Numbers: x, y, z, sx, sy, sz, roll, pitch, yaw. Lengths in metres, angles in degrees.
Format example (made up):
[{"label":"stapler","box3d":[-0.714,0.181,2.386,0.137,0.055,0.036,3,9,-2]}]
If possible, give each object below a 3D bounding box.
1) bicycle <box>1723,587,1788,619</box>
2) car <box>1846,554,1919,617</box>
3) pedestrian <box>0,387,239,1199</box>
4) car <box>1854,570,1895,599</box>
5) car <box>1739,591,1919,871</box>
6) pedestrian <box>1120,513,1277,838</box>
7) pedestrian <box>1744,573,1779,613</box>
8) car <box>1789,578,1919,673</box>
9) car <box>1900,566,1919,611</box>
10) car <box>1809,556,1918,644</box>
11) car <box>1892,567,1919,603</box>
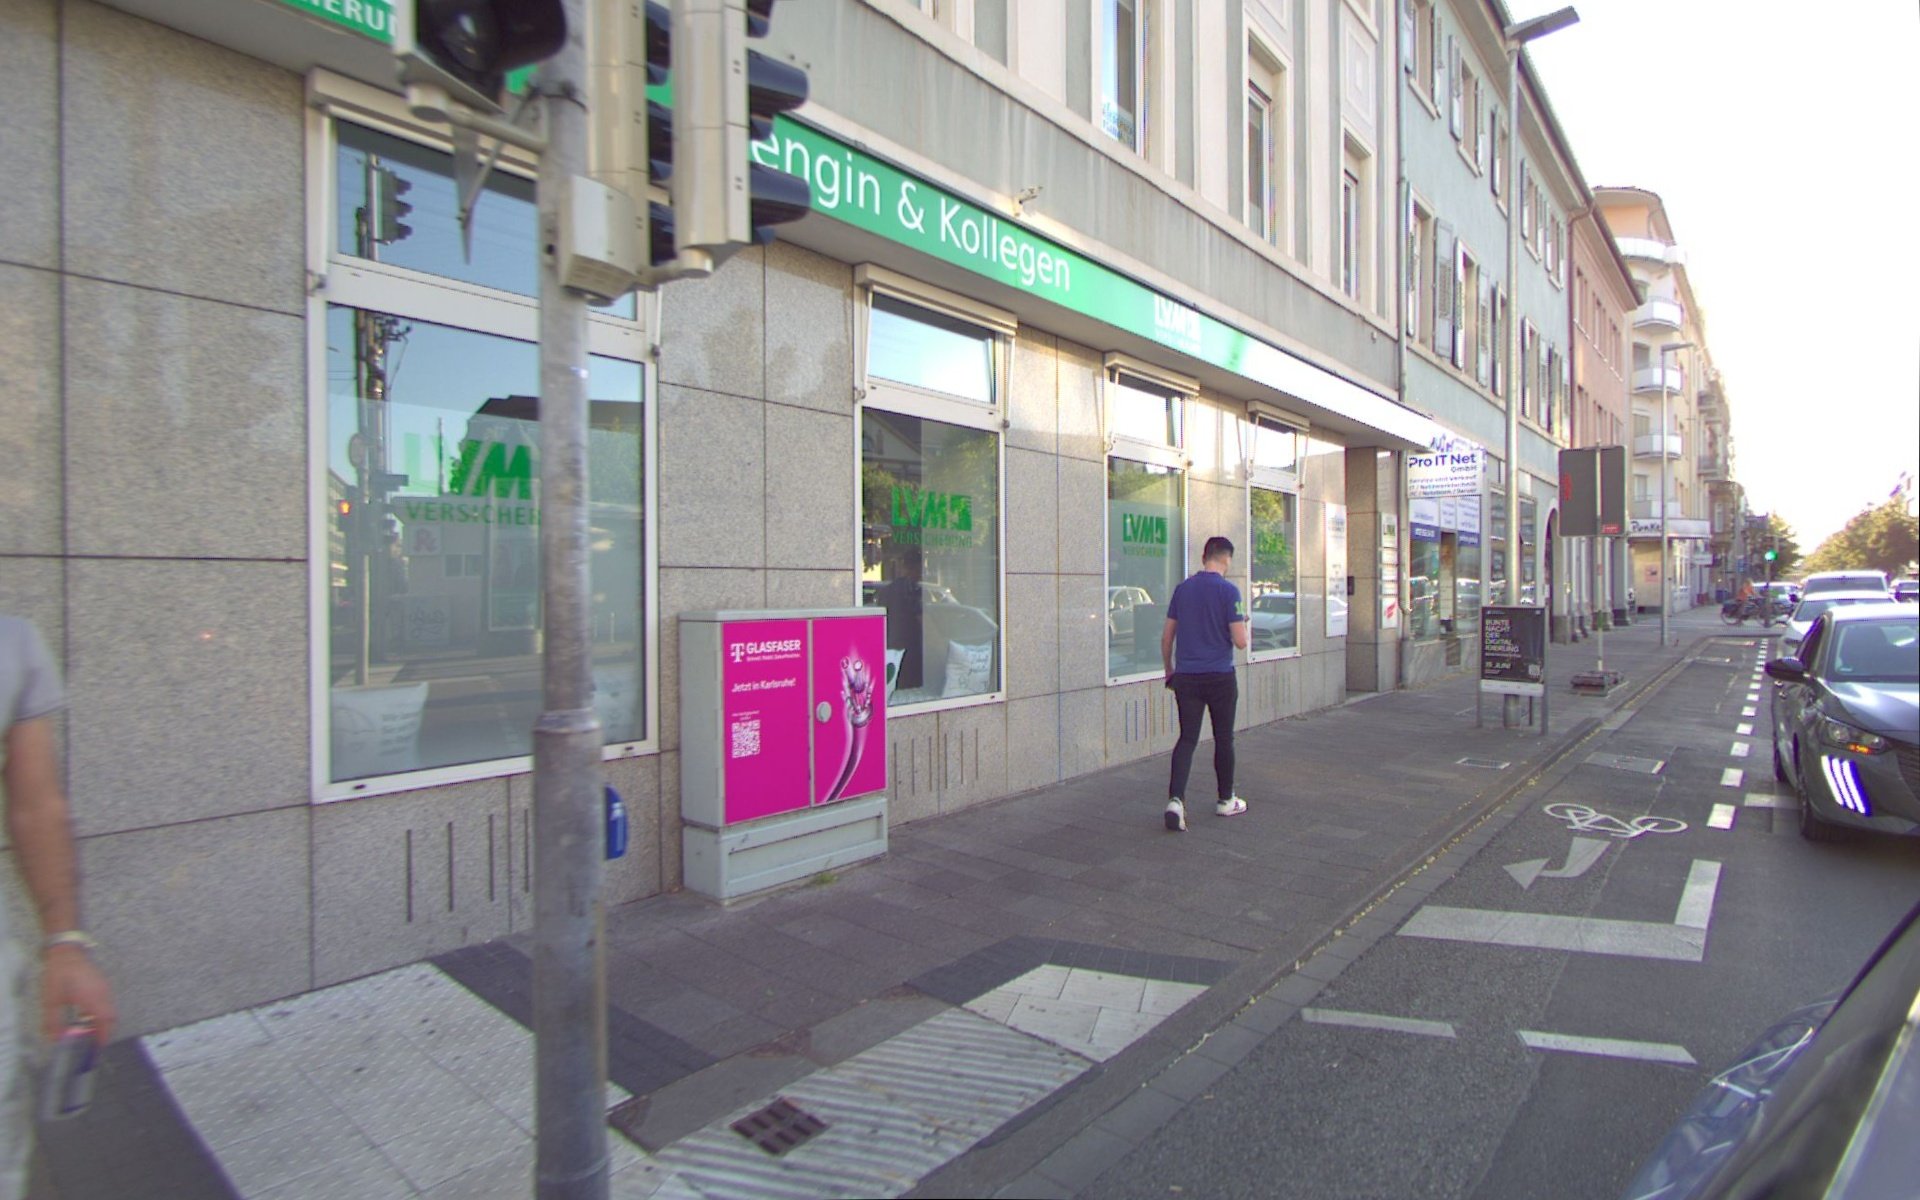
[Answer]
[{"label":"bicycle","box3d":[27.799,0.094,35.386,0.552,1.070,1.703,-1,1,-38]},{"label":"car","box3d":[31.968,-0.511,35.046,1.885,2.039,3.835,0,1,41]},{"label":"pedestrian","box3d":[-1.593,0.594,1.517,0.650,1.764,0.684,0,0,39]},{"label":"car","box3d":[59.683,-1.005,66.082,1.873,1.794,3.941,0,1,41]},{"label":"car","box3d":[6.570,0.690,6.808,1.739,1.461,3.861,-1,0,33]},{"label":"pedestrian","box3d":[1.498,0.418,6.316,0.688,1.850,0.869,1,1,35]},{"label":"pedestrian","box3d":[27.913,-0.244,35.250,0.552,1.368,0.858,-1,1,-38]},{"label":"car","box3d":[15.913,0.382,17.913,1.820,1.490,3.927,-2,0,41]},{"label":"car","box3d":[39.605,-0.497,41.199,1.874,1.794,3.940,0,1,42]},{"label":"car","box3d":[21.906,-0.068,24.638,1.821,1.953,3.927,2,2,41]},{"label":"car","box3d":[49.660,-0.791,52.479,1.874,1.794,3.940,0,1,42]}]
